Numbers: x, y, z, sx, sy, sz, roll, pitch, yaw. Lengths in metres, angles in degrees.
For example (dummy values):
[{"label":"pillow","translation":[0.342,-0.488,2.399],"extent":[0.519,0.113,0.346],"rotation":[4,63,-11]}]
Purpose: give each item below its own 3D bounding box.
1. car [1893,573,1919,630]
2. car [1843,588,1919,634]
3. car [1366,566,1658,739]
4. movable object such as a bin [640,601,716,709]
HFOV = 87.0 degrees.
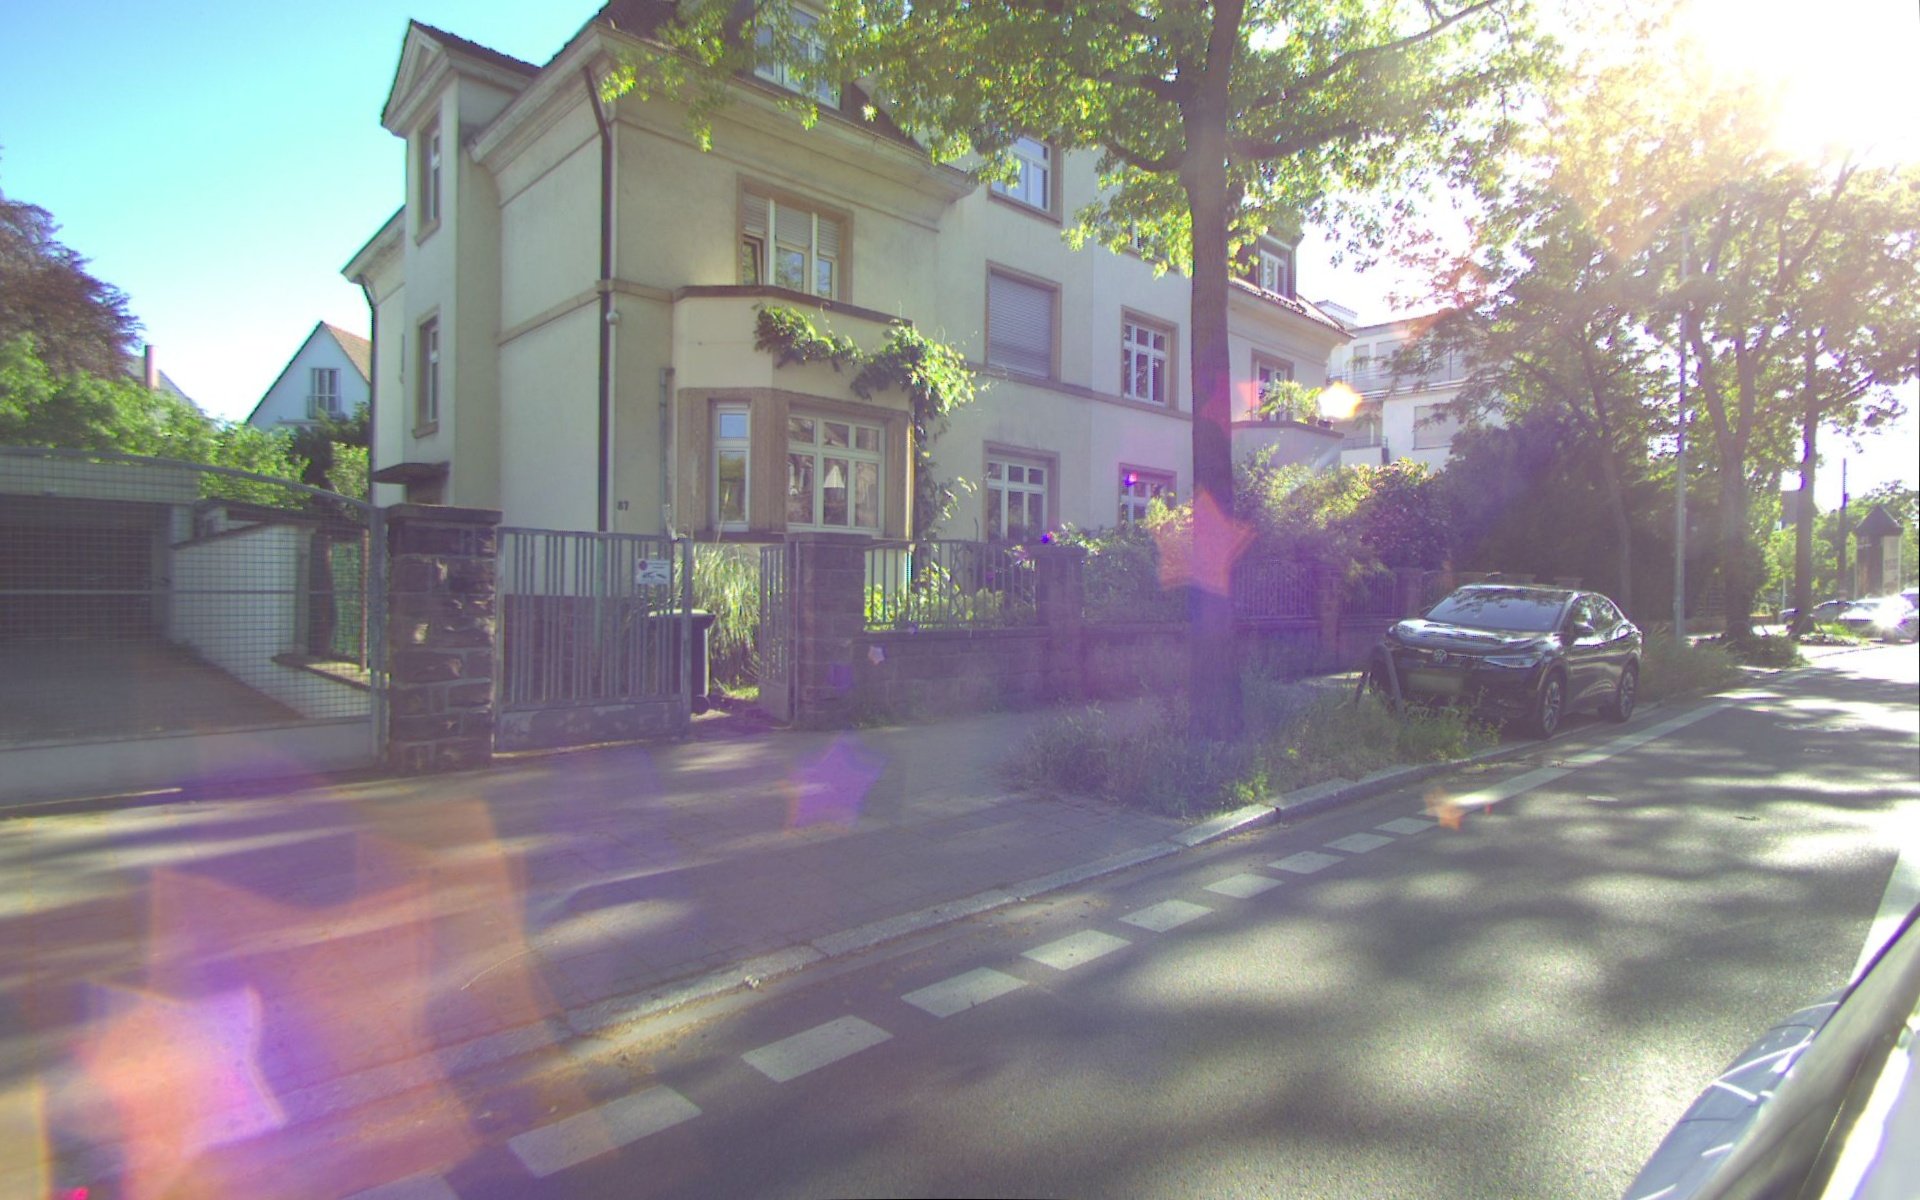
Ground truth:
[{"label":"car","translation":[36.793,0.056,38.070],"extent":[4.503,2.039,1.997],"rotation":[0,1,-41]},{"label":"car","translation":[31.558,0.343,34.409],"extent":[3.930,1.469,1.785],"rotation":[0,1,-41]},{"label":"car","translation":[6.663,0.498,12.049],"extent":[4.021,1.626,1.743],"rotation":[0,4,-42]},{"label":"movable object such as a bin","translation":[-3.045,0.561,10.864],"extent":[0.697,1.070,1.093],"rotation":[0,0,-20]}]
